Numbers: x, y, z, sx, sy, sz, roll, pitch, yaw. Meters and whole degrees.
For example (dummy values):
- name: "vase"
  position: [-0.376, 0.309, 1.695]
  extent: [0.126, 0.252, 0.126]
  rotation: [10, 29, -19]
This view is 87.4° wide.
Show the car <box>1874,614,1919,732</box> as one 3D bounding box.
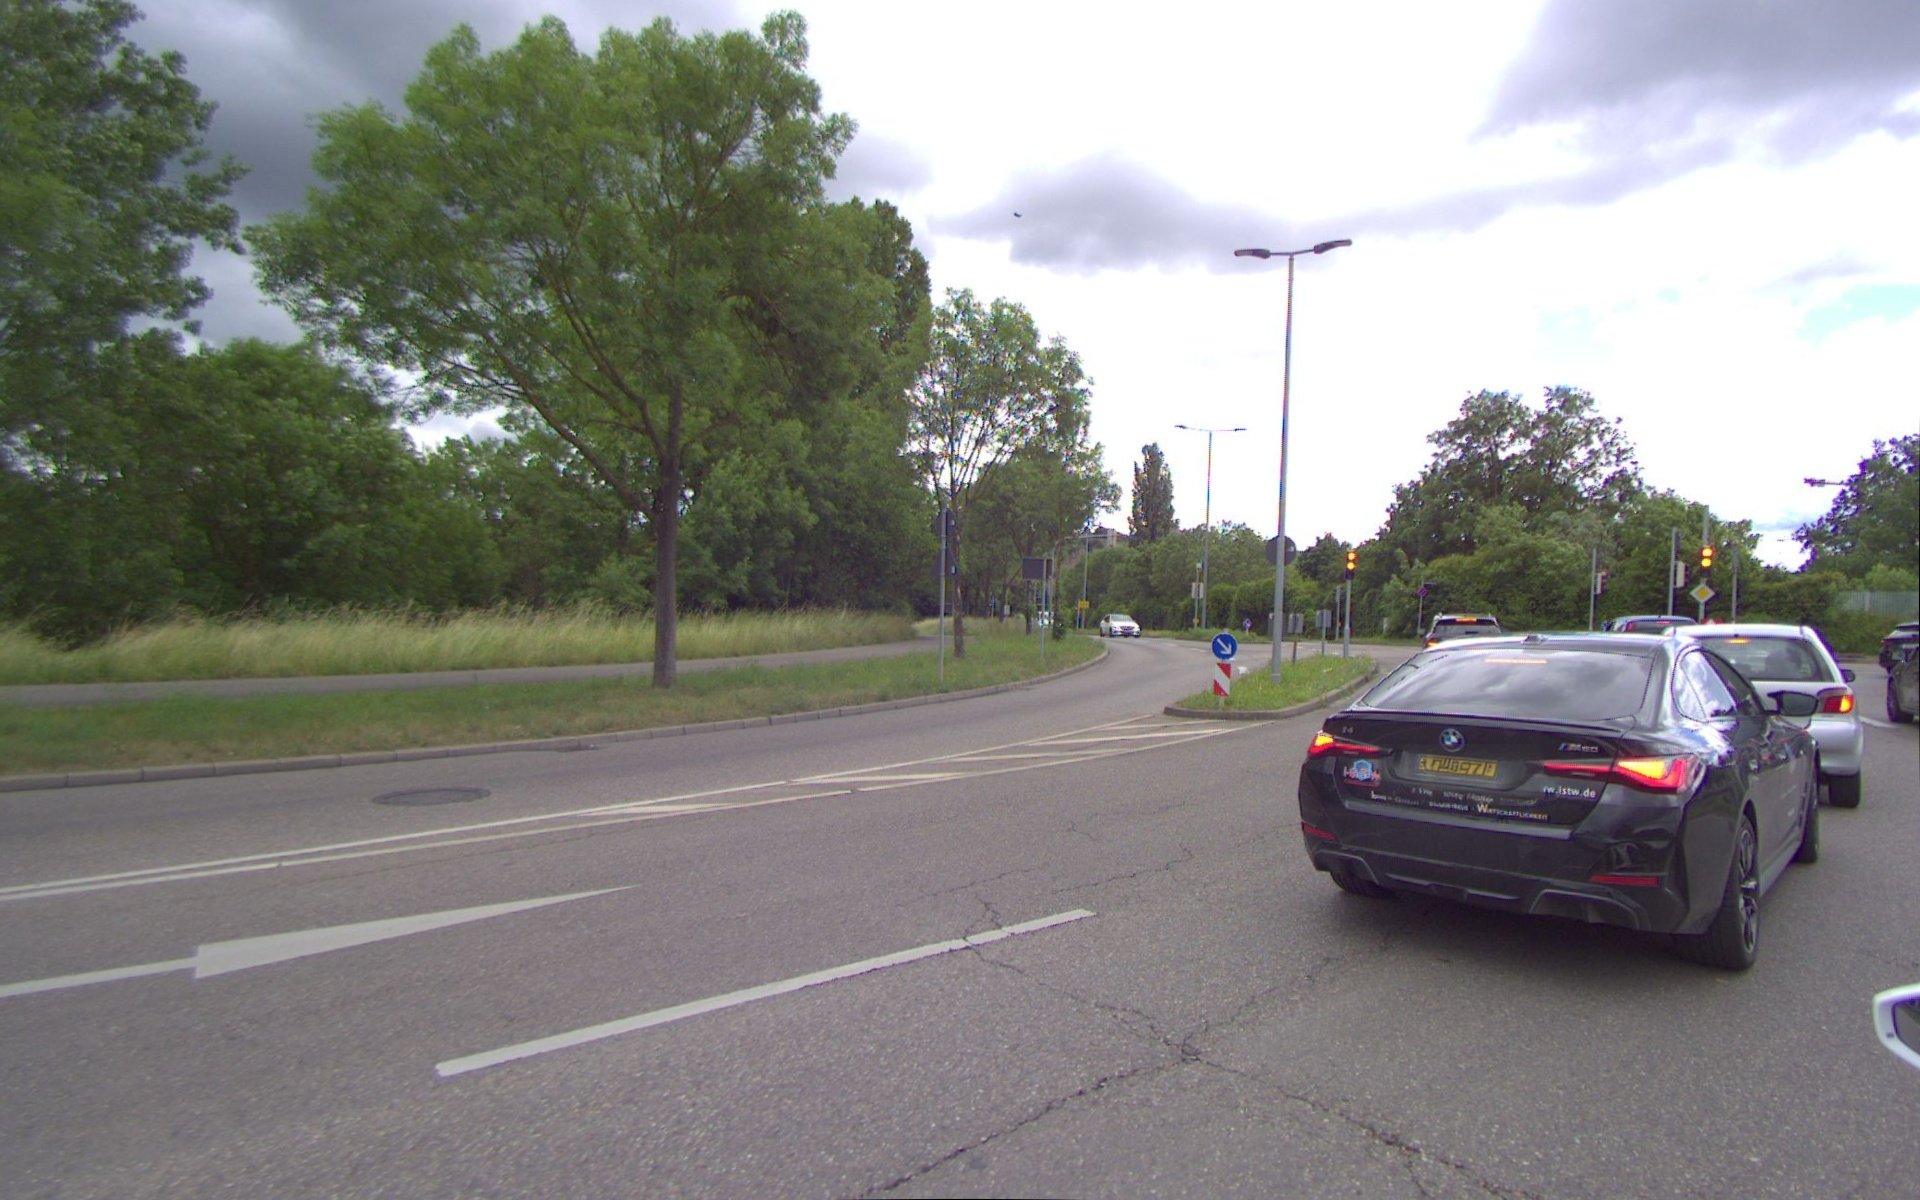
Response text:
- name: "car"
  position: [13.970, 0.994, 13.544]
  extent: [1.773, 1.573, 3.990]
  rotation: [0, -1, 33]

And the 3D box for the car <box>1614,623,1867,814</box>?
- name: "car"
  position: [7.598, 0.995, 9.886]
  extent: [1.648, 1.489, 3.614]
  rotation: [-2, -2, 38]

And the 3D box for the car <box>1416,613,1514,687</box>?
- name: "car"
  position: [11.555, 1.074, 22.887]
  extent: [1.633, 1.527, 3.761]
  rotation: [-2, -1, 32]

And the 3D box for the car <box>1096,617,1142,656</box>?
- name: "car"
  position: [10.074, 2.285, 63.925]
  extent: [1.899, 2.021, 4.319]
  rotation: [3, 2, -4]

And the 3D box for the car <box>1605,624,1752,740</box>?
- name: "car"
  position: [10.497, 1.108, 14.895]
  extent: [1.542, 1.386, 4.072]
  rotation: [-2, -1, 33]

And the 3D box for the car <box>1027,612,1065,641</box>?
- name: "car"
  position: [6.331, 1.969, 74.587]
  extent: [2.043, 1.783, 4.319]
  rotation: [3, 2, -4]

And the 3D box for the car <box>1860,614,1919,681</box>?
- name: "car"
  position: [25.039, 1.253, 25.689]
  extent: [3.742, 1.573, 1.812]
  rotation: [3, 1, -29]

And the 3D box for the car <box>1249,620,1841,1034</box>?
- name: "car"
  position: [3.829, 0.872, 6.042]
  extent: [4.931, 1.496, 1.854]
  rotation: [1, -2, -45]

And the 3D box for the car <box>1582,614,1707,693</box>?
- name: "car"
  position: [14.479, 1.064, 21.412]
  extent: [1.518, 1.527, 3.379]
  rotation: [0, -1, 22]
